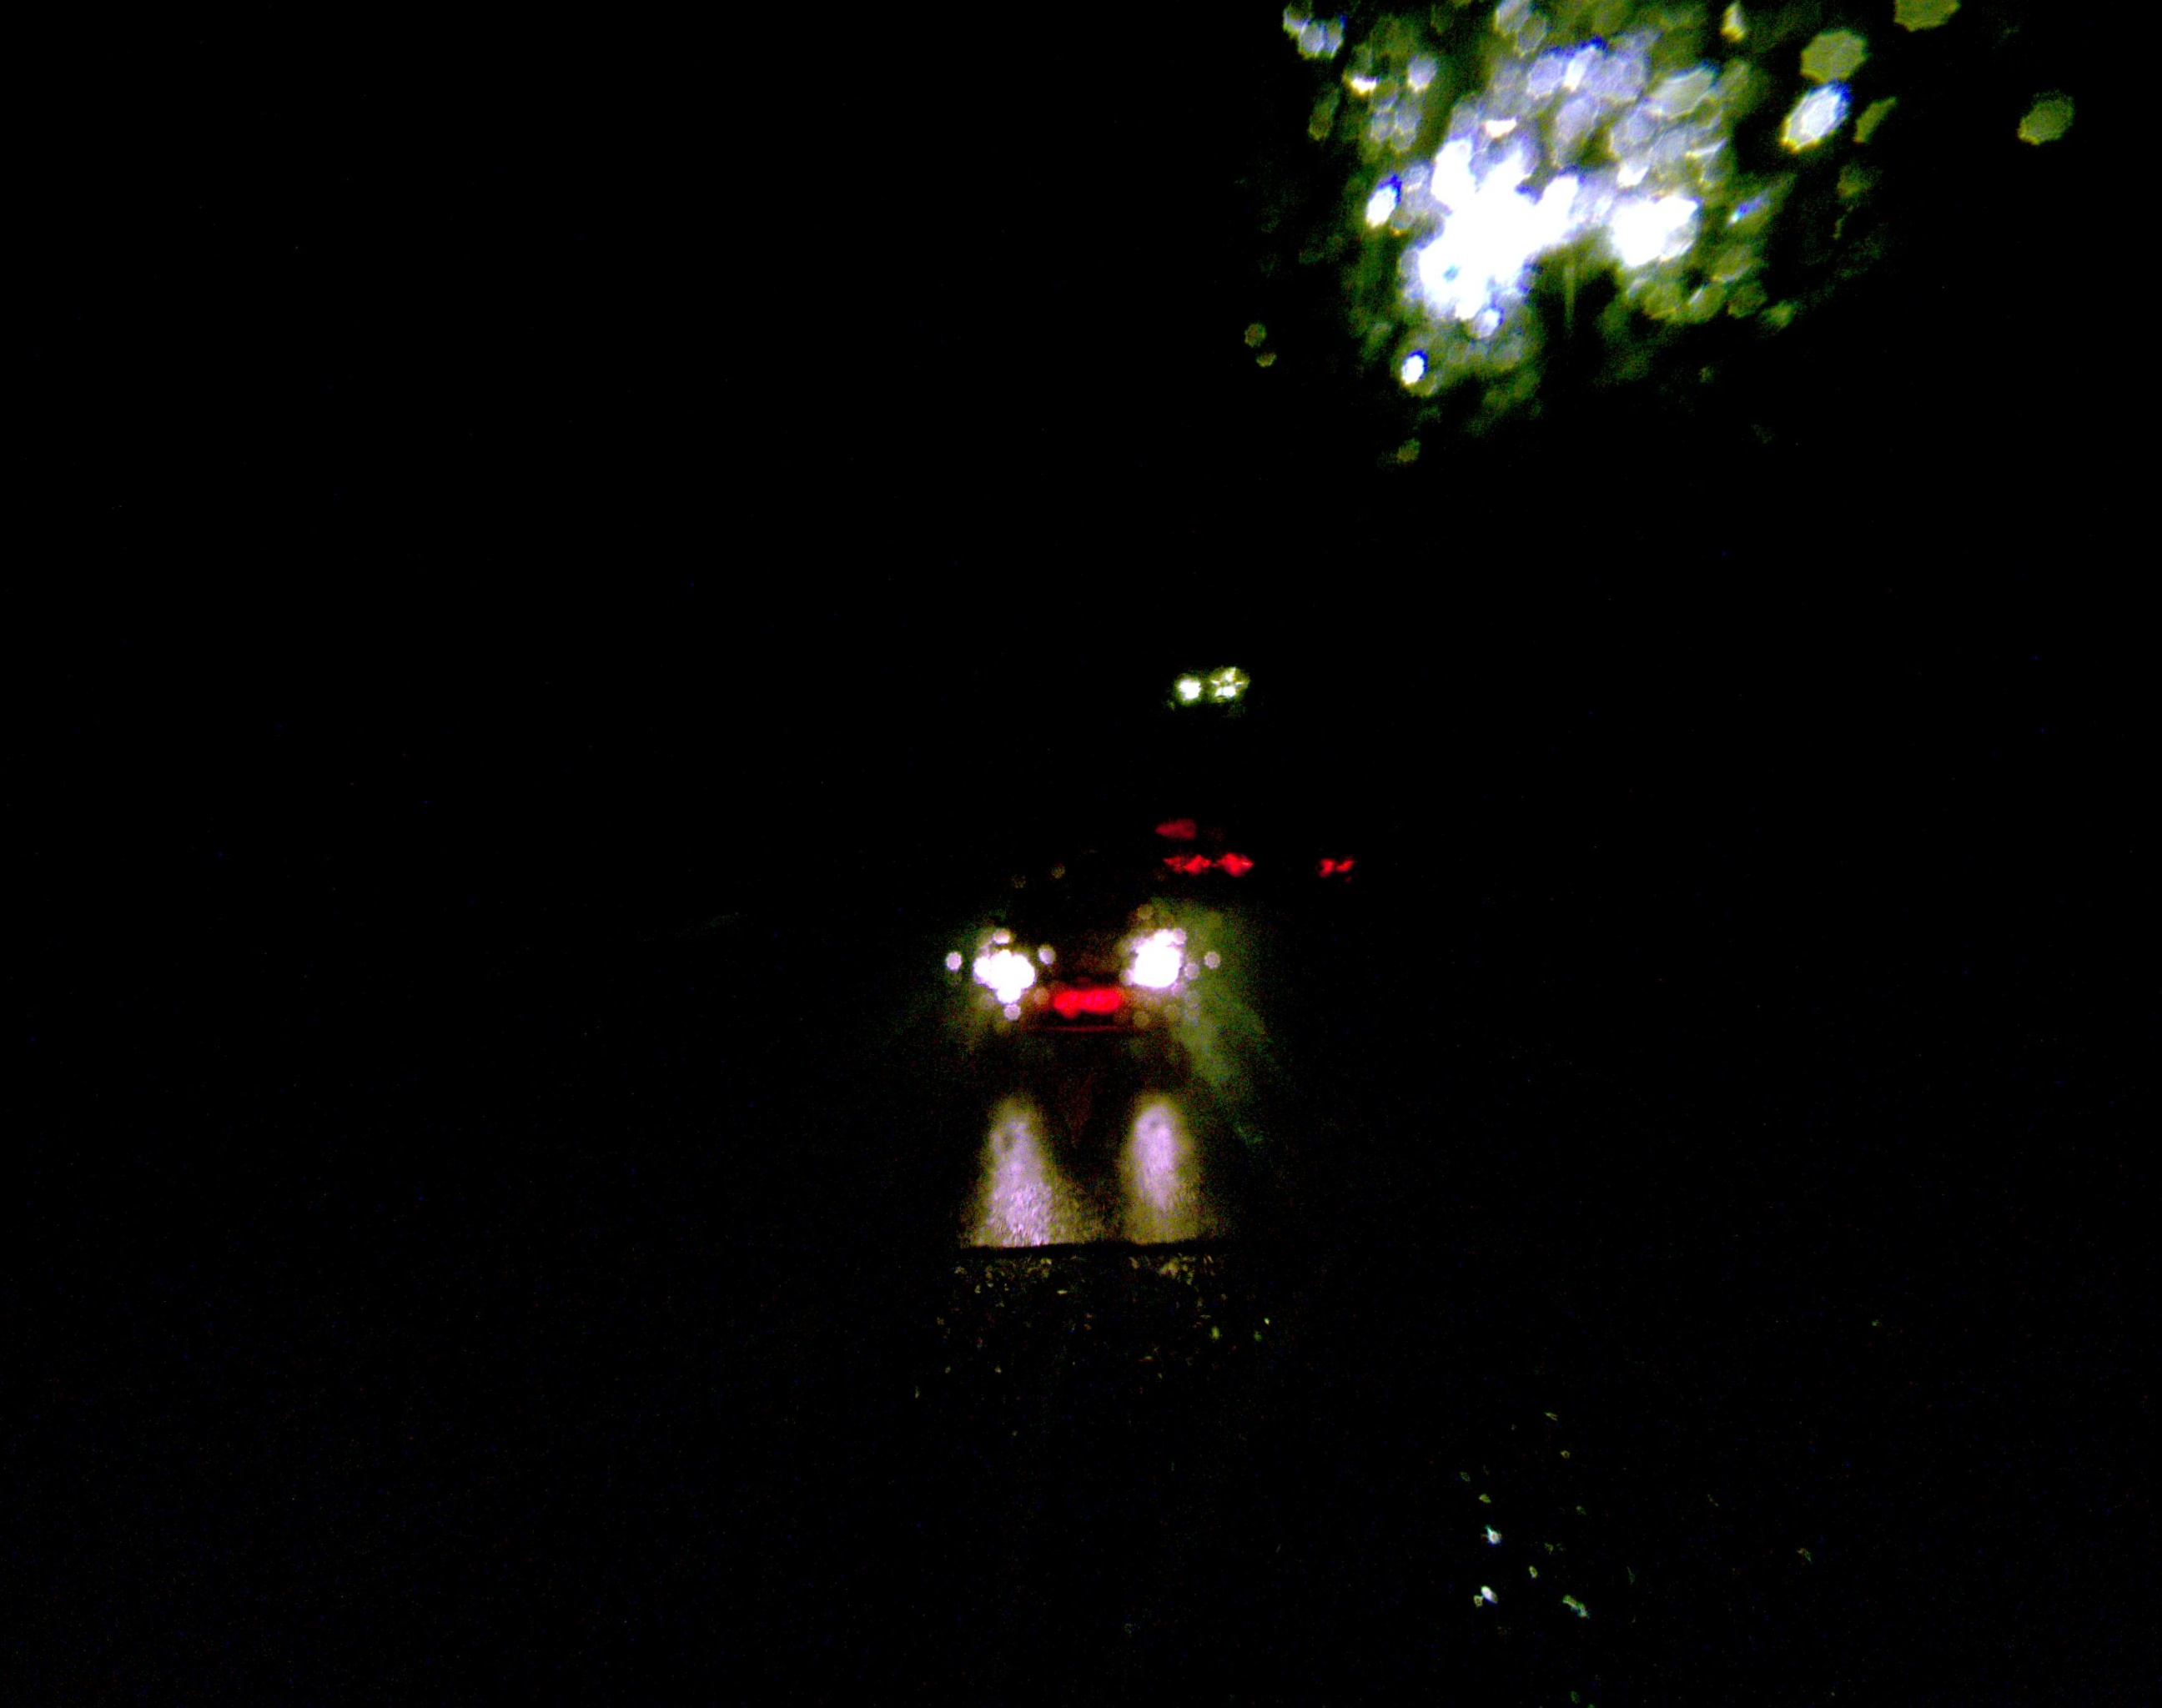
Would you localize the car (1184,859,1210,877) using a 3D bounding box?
[{"bbox_3d":[10.965,1.303,71.915,1.788,1.637,4.000,-2,0,0],"label":"car"}]

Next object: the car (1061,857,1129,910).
[{"bbox_3d":[0.452,0.897,24.752,1.998,1.531,4.000,-1,0,1],"label":"car"}]

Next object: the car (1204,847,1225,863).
[{"bbox_3d":[17.560,0.161,100.277,1.998,2.002,4.000,-2,0,1],"label":"car"}]

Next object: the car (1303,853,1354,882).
[{"bbox_3d":[14.900,0.791,45.957,1.866,1.637,4.000,-2,0,2],"label":"car"}]

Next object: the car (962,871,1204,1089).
[{"bbox_3d":[0.040,0.987,7.686,1.764,1.492,4.000,-2,0,1],"label":"car"}]

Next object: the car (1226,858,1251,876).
[{"bbox_3d":[16.230,1.329,78.631,1.817,1.637,4.000,-2,0,2],"label":"car"}]

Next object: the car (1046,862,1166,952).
[{"bbox_3d":[0.444,0.917,14.825,1.998,1.455,4.000,-1,0,1],"label":"car"}]

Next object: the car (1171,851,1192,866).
[{"bbox_3d":[11.525,0.480,87.349,1.788,1.637,3.999,-2,0,-2],"label":"car"}]
